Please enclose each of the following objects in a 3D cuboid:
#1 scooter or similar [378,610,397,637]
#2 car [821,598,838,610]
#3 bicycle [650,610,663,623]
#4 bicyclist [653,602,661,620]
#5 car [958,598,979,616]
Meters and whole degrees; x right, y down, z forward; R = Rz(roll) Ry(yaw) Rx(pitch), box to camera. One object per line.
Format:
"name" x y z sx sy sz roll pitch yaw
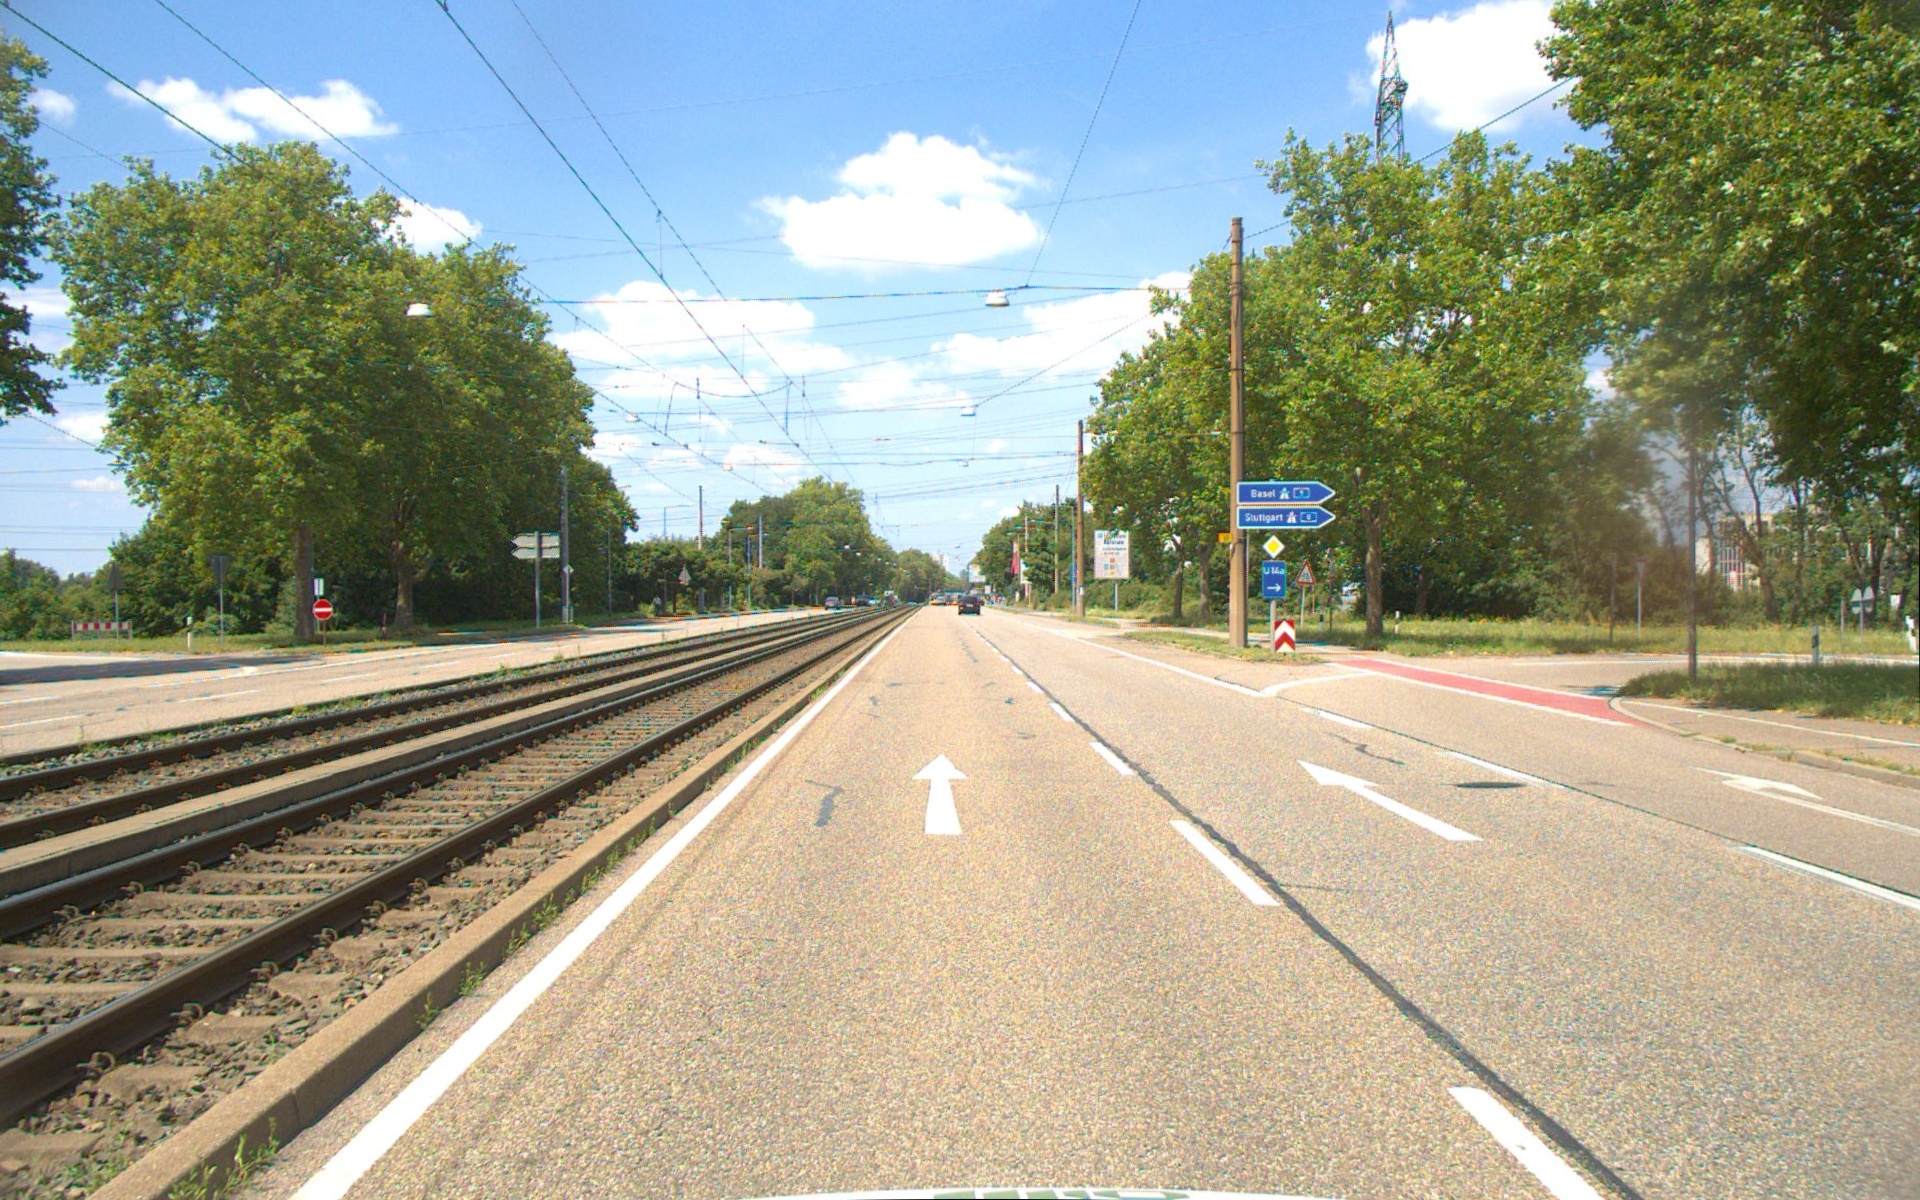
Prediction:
"scooter or similar" -22.776 0.923 65.831 0.292 1.040 0.997 2 0 6
"car" -16.569 0.495 210.540 1.837 1.355 3.917 -2 0 0
"bicycle" -21.175 1.155 115.511 0.505 0.872 1.932 -1 0 2
"bicyclist" -21.196 0.759 115.604 0.444 1.295 0.398 0 0 1
"car" 0.682 0.546 133.092 1.554 1.366 3.271 -1 1 -2
